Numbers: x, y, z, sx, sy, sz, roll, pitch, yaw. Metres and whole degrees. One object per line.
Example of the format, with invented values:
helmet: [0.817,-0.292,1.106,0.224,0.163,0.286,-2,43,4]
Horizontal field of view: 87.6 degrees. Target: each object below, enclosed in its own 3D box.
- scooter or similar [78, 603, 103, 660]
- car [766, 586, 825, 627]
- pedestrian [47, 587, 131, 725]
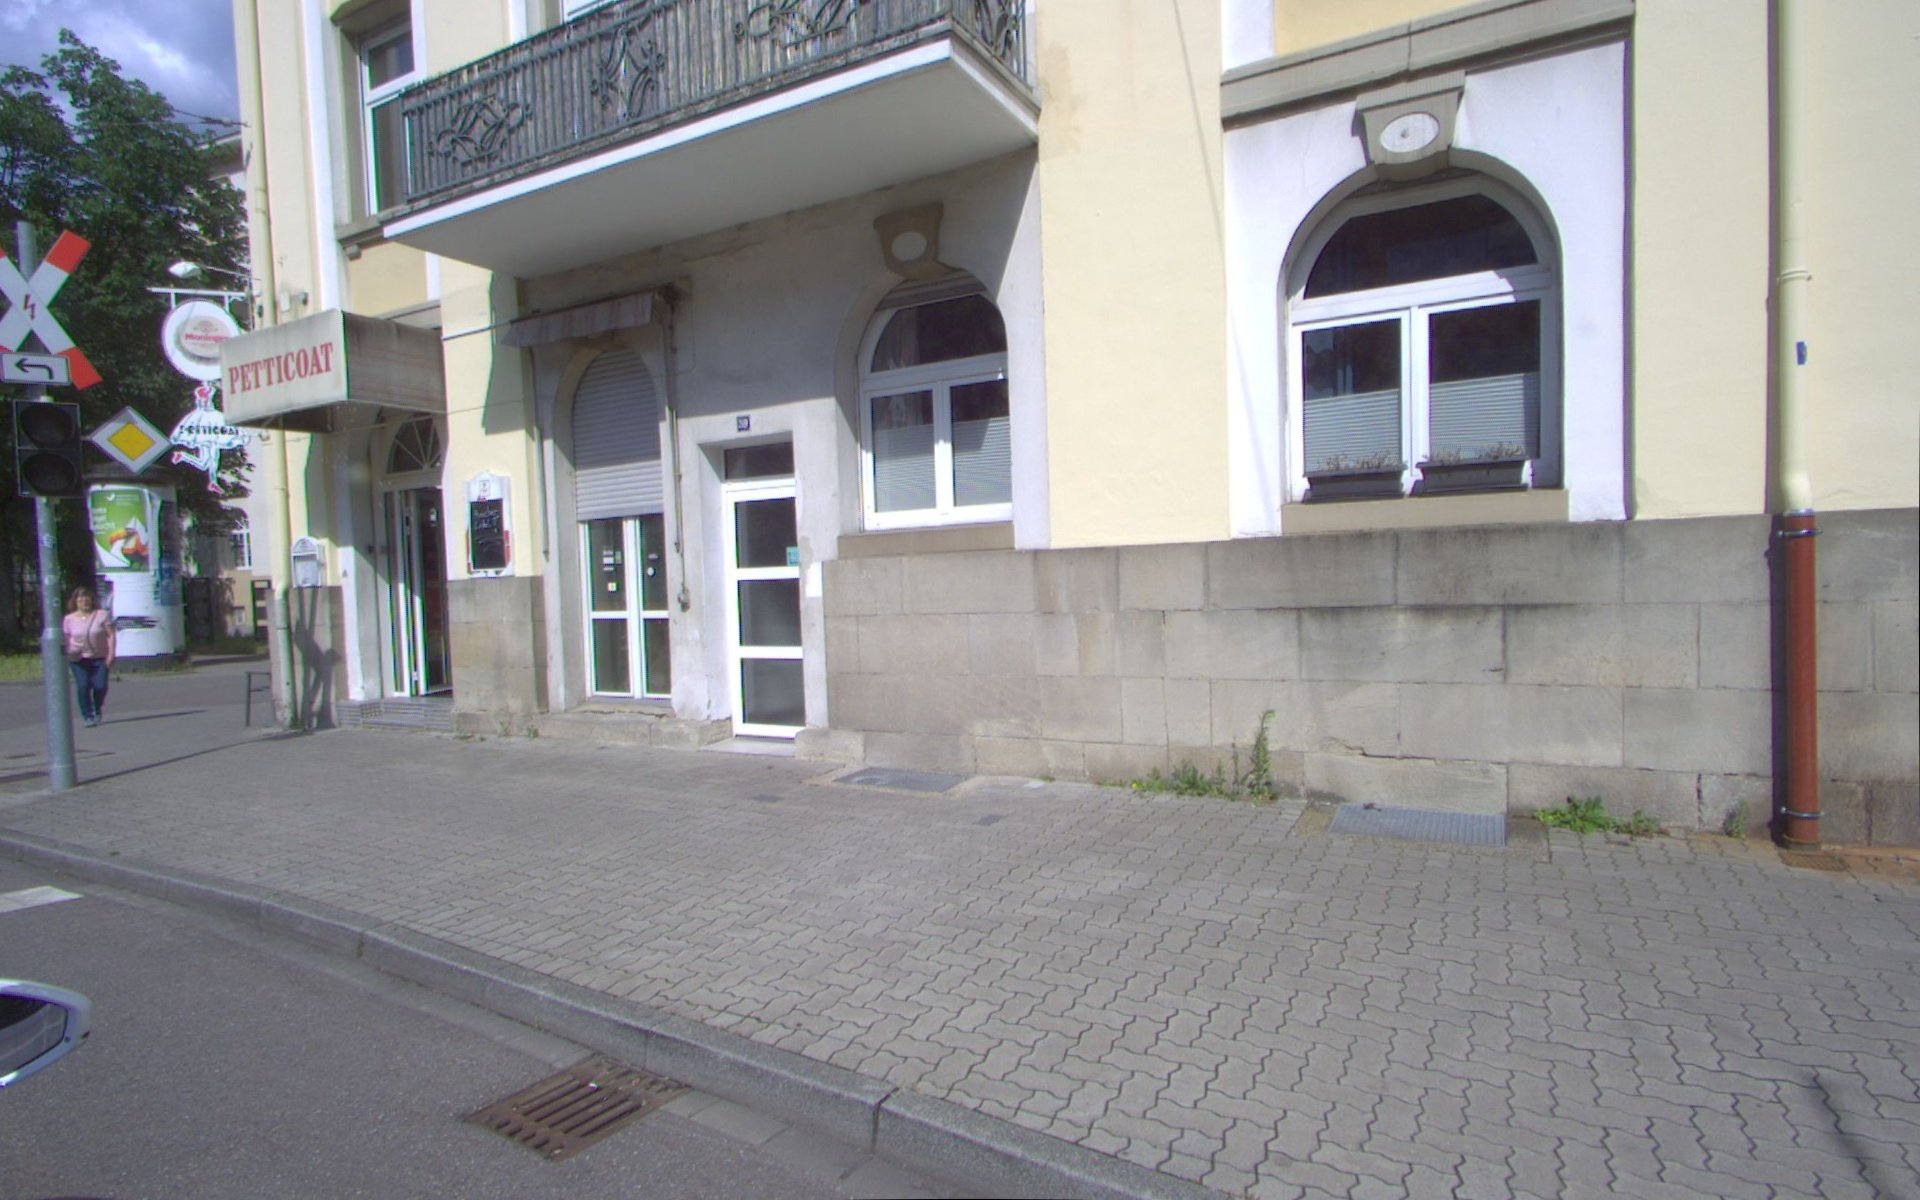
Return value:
scooter or similar: [-19.042,0.674,21.923,0.303,1.205,1.151,-4,3,-43]
car: [-6.364,0.222,38.582,1.363,1.476,3.253,-2,2,-25]
pedestrian: [-11.087,0.690,12.770,0.666,1.671,0.757,-4,3,-38]
